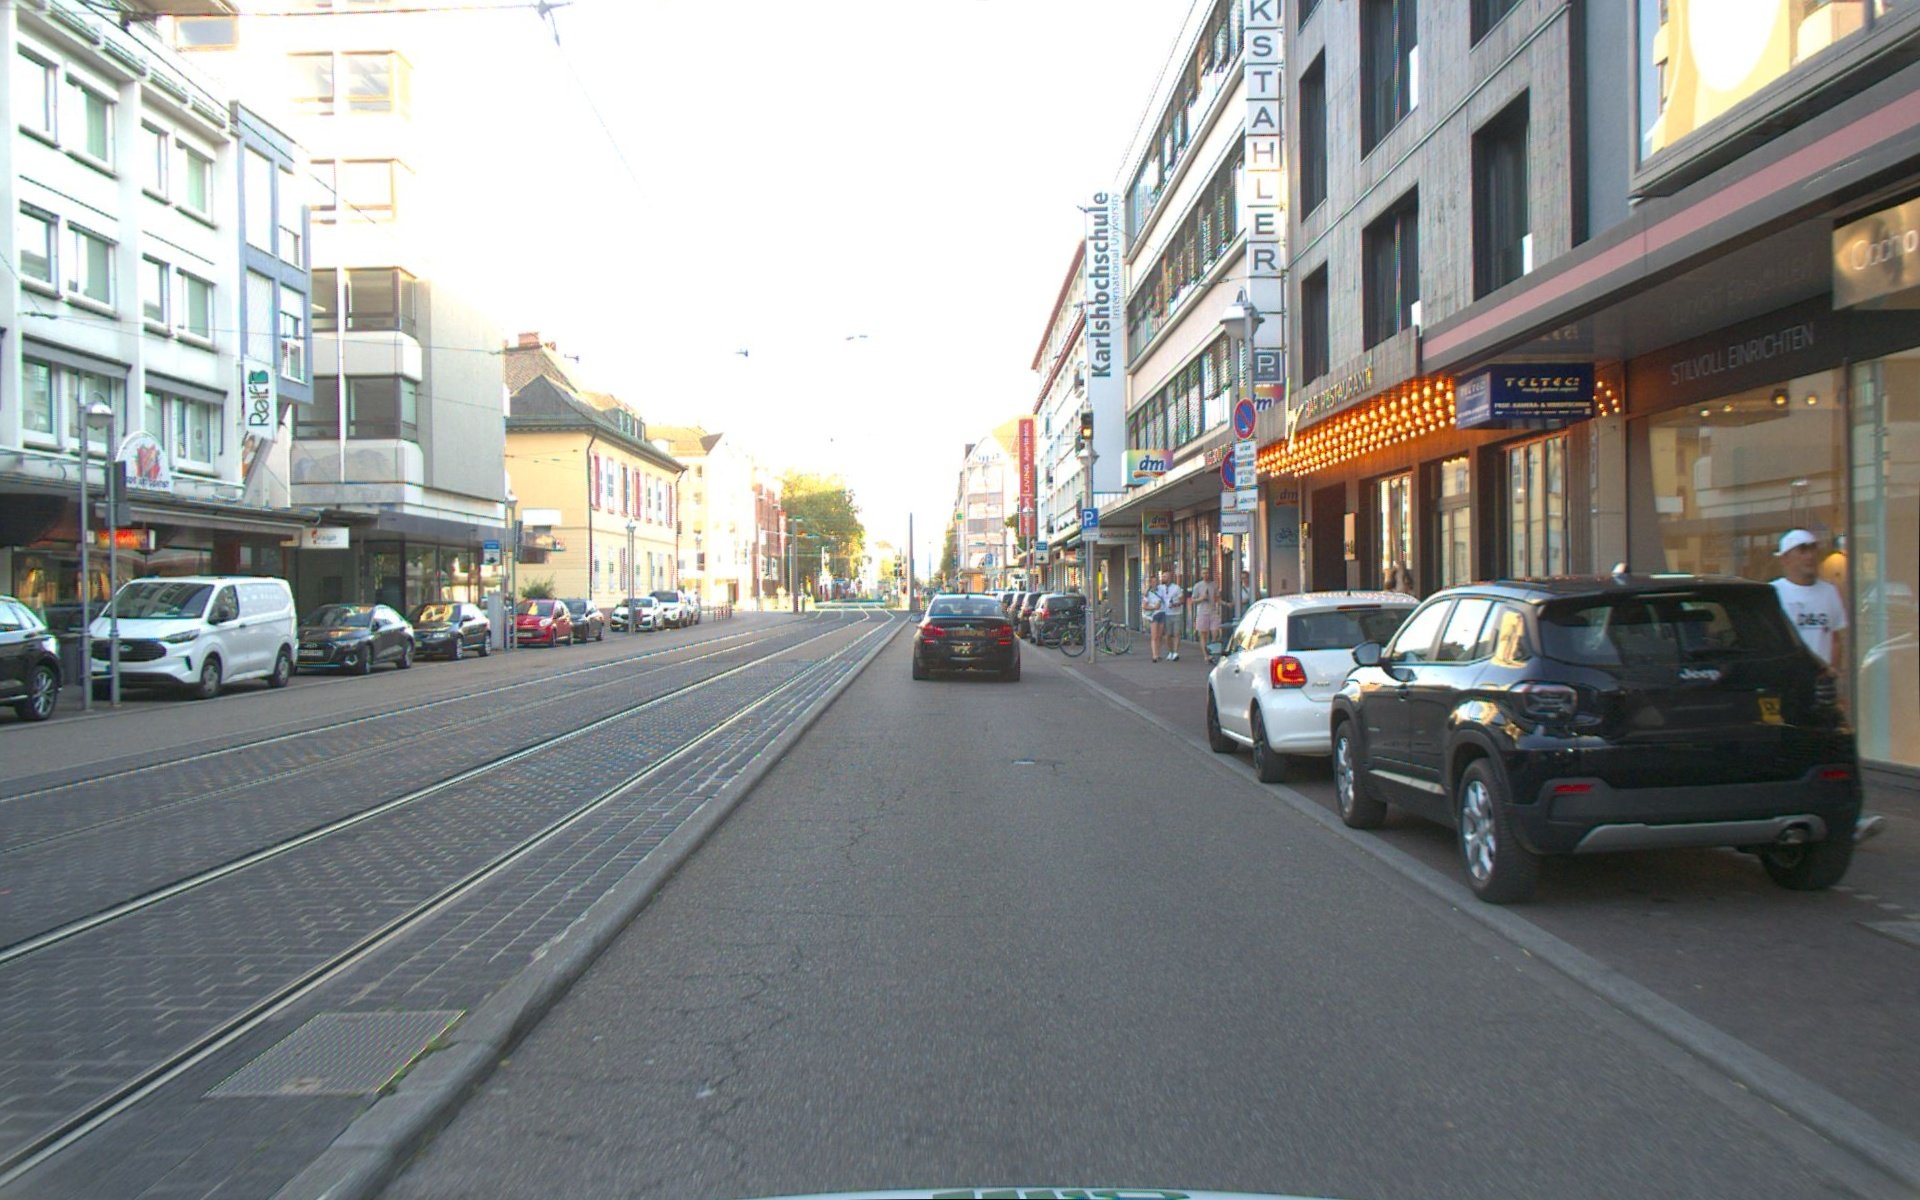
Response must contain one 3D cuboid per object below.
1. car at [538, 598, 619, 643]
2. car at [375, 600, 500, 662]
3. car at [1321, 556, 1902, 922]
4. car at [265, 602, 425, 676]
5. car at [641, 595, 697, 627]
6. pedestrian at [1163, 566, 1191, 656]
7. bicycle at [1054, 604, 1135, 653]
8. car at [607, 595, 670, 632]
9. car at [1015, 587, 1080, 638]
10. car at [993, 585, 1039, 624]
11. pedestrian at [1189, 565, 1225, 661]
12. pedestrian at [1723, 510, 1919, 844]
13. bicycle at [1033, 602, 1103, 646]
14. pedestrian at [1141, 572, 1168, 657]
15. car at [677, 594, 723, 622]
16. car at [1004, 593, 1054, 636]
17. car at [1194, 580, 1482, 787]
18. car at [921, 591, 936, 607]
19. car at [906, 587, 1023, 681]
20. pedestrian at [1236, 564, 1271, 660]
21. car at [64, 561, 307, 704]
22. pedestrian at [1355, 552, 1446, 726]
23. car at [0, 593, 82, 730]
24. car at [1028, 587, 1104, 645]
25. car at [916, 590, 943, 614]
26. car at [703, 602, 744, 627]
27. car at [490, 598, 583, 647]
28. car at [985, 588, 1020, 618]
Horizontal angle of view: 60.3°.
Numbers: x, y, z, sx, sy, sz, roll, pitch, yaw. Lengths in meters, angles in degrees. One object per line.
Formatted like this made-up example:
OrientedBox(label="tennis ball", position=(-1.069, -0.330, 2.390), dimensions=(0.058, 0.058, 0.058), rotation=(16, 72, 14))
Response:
OrientedBox(label="car", position=(-13.233, 0.689, 57.579), dimensions=(1.889, 1.460, 4.245), rotation=(0, 0, -1))
OrientedBox(label="car", position=(-13.288, 0.748, 42.332), dimensions=(1.889, 1.460, 4.245), rotation=(0, 0, -1))
OrientedBox(label="car", position=(3.317, 0.601, 9.274), dimensions=(1.621, 1.564, 3.885), rotation=(-2, 0, -1))
OrientedBox(label="car", position=(-13.164, 0.803, 35.656), dimensions=(1.889, 1.460, 4.245), rotation=(0, 0, -1))
OrientedBox(label="car", position=(-13.533, 0.496, 77.130), dimensions=(1.889, 1.460, 4.245), rotation=(0, 0, -1))
OrientedBox(label="pedestrian", position=(4.483, 0.217, 34.128), dimensions=(0.478, 1.821, 0.760), rotation=(-1, 0, 3))
OrientedBox(label="bicycle", position=(3.086, 0.657, 38.128), dimensions=(1.823, 1.099, 0.468), rotation=(0, -1, 0))
OrientedBox(label="car", position=(-13.742, 0.557, 70.959), dimensions=(1.889, 1.460, 4.245), rotation=(-1, 0, -1))
OrientedBox(label="car", position=(2.829, 0.417, 53.994), dimensions=(1.864, 1.576, 3.779), rotation=(0, -1, -1))
OrientedBox(label="car", position=(2.290, 0.204, 68.710), dimensions=(1.738, 1.576, 3.502), rotation=(0, 0, -1))
OrientedBox(label="pedestrian", position=(4.798, 0.250, 32.202), dimensions=(0.542, 1.823, 0.760), rotation=(-1, 0, -1))
OrientedBox(label="pedestrian", position=(4.860, 0.414, 9.321), dimensions=(0.674, 1.771, 0.821), rotation=(-2, 0, 1))
OrientedBox(label="bicycle", position=(2.862, 0.631, 43.933), dimensions=(1.823, 1.139, 0.468), rotation=(0, -1, 0))
OrientedBox(label="pedestrian", position=(4.002, 0.299, 34.137), dimensions=(0.465, 1.729, 0.752), rotation=(-1, 0, 3))
OrientedBox(label="car", position=(-14.279, 0.413, 91.107), dimensions=(1.889, 1.460, 4.245), rotation=(0, 0, -1))
OrientedBox(label="car", position=(2.623, 0.554, 63.384), dimensions=(1.738, 1.576, 3.502), rotation=(0, 0, -1))
OrientedBox(label="car", position=(3.100, 0.612, 14.252), dimensions=(1.528, 1.467, 3.708), rotation=(-3, 0, -1))
OrientedBox(label="car", position=(-4.168, -0.124, 217.650), dimensions=(1.953, 1.870, 3.998), rotation=(0, -3, -1))
OrientedBox(label="car", position=(0.096, 0.547, 29.653), dimensions=(1.913, 1.524, 4.465), rotation=(1, 0, 1))
OrientedBox(label="pedestrian", position=(5.677, 0.221, 32.028), dimensions=(0.497, 1.824, 0.760), rotation=(-1, 0, -1))
OrientedBox(label="car", position=(-13.068, 0.493, 28.285), dimensions=(1.953, 2.194, 4.909), rotation=(-1, 0, -2))
OrientedBox(label="pedestrian", position=(4.379, 0.378, 16.476), dimensions=(0.547, 1.676, 0.757), rotation=(-1, 0, -15))
OrientedBox(label="car", position=(-12.975, 0.777, 20.504), dimensions=(1.822, 1.707, 4.463), rotation=(0, 0, -1))
OrientedBox(label="car", position=(2.979, 0.452, 47.281), dimensions=(1.864, 1.576, 3.999), rotation=(0, 0, -1))
OrientedBox(label="car", position=(-2.056, 0.125, 111.480), dimensions=(1.738, 1.576, 3.502), rotation=(0, 0, -1))
OrientedBox(label="car", position=(-14.294, 0.847, 100.270), dimensions=(1.889, 1.460, 4.245), rotation=(0, 0, -1))
OrientedBox(label="car", position=(-13.394, 0.678, 52.588), dimensions=(1.889, 1.460, 4.245), rotation=(0, 0, -1))
OrientedBox(label="car", position=(2.291, 0.183, 89.962), dimensions=(1.738, 1.576, 3.502), rotation=(0, 0, -1))
